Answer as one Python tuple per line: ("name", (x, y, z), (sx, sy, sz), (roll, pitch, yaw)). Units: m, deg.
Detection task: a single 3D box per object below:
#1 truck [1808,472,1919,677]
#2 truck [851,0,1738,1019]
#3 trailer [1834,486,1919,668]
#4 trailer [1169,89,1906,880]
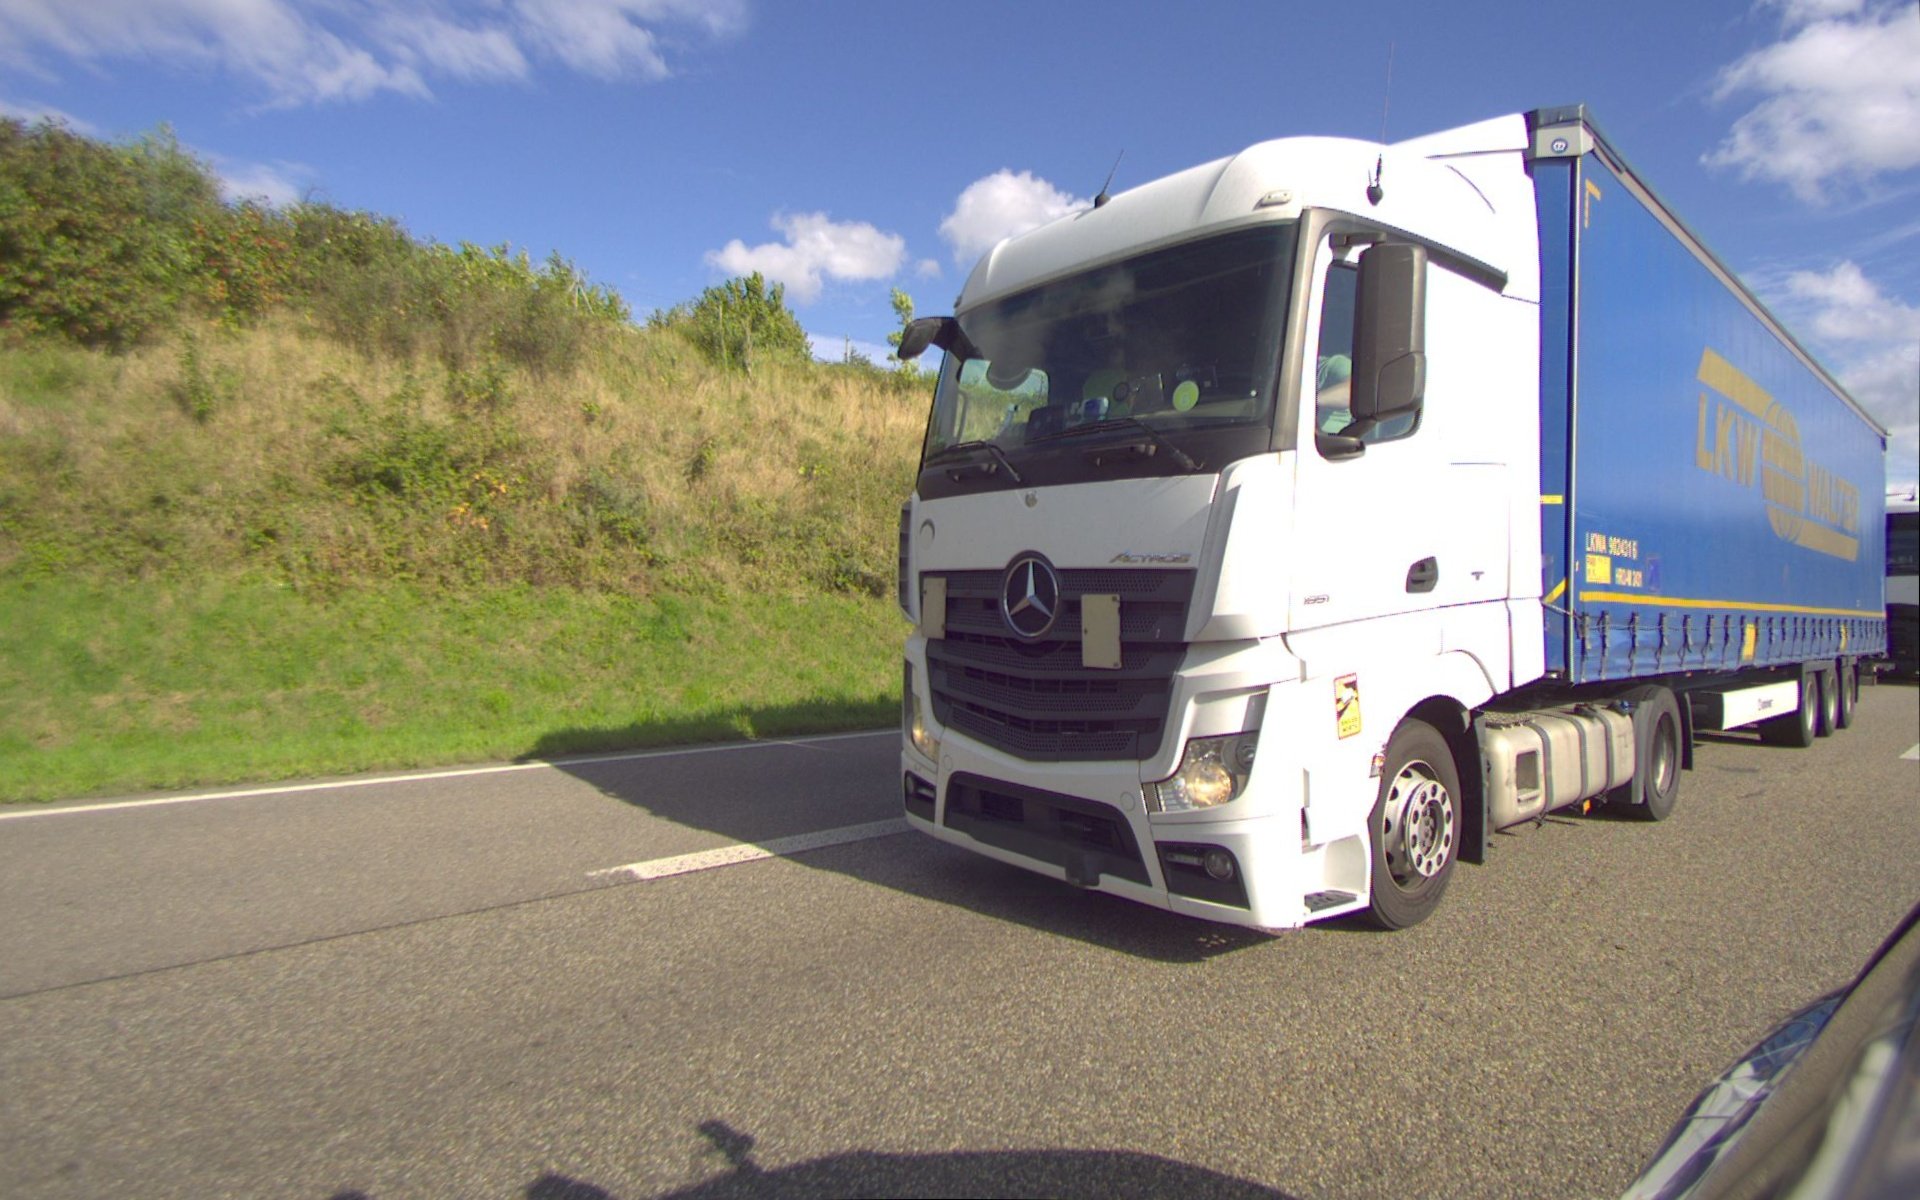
("truck", (20.893, -0.481, 22.142), (6.821, 3.975, 2.653), (0, 0, -42))
("truck", (2.663, -0.660, 6.578), (6.379, 4.141, 2.652), (0, 0, -42))
("trailer", (24.986, -0.455, 25.851), (10.981, 3.984, 2.650), (1, 0, -42))
("trailer", (7.506, -0.632, 10.882), (13.738, 4.149, 2.646), (0, 0, -42))
